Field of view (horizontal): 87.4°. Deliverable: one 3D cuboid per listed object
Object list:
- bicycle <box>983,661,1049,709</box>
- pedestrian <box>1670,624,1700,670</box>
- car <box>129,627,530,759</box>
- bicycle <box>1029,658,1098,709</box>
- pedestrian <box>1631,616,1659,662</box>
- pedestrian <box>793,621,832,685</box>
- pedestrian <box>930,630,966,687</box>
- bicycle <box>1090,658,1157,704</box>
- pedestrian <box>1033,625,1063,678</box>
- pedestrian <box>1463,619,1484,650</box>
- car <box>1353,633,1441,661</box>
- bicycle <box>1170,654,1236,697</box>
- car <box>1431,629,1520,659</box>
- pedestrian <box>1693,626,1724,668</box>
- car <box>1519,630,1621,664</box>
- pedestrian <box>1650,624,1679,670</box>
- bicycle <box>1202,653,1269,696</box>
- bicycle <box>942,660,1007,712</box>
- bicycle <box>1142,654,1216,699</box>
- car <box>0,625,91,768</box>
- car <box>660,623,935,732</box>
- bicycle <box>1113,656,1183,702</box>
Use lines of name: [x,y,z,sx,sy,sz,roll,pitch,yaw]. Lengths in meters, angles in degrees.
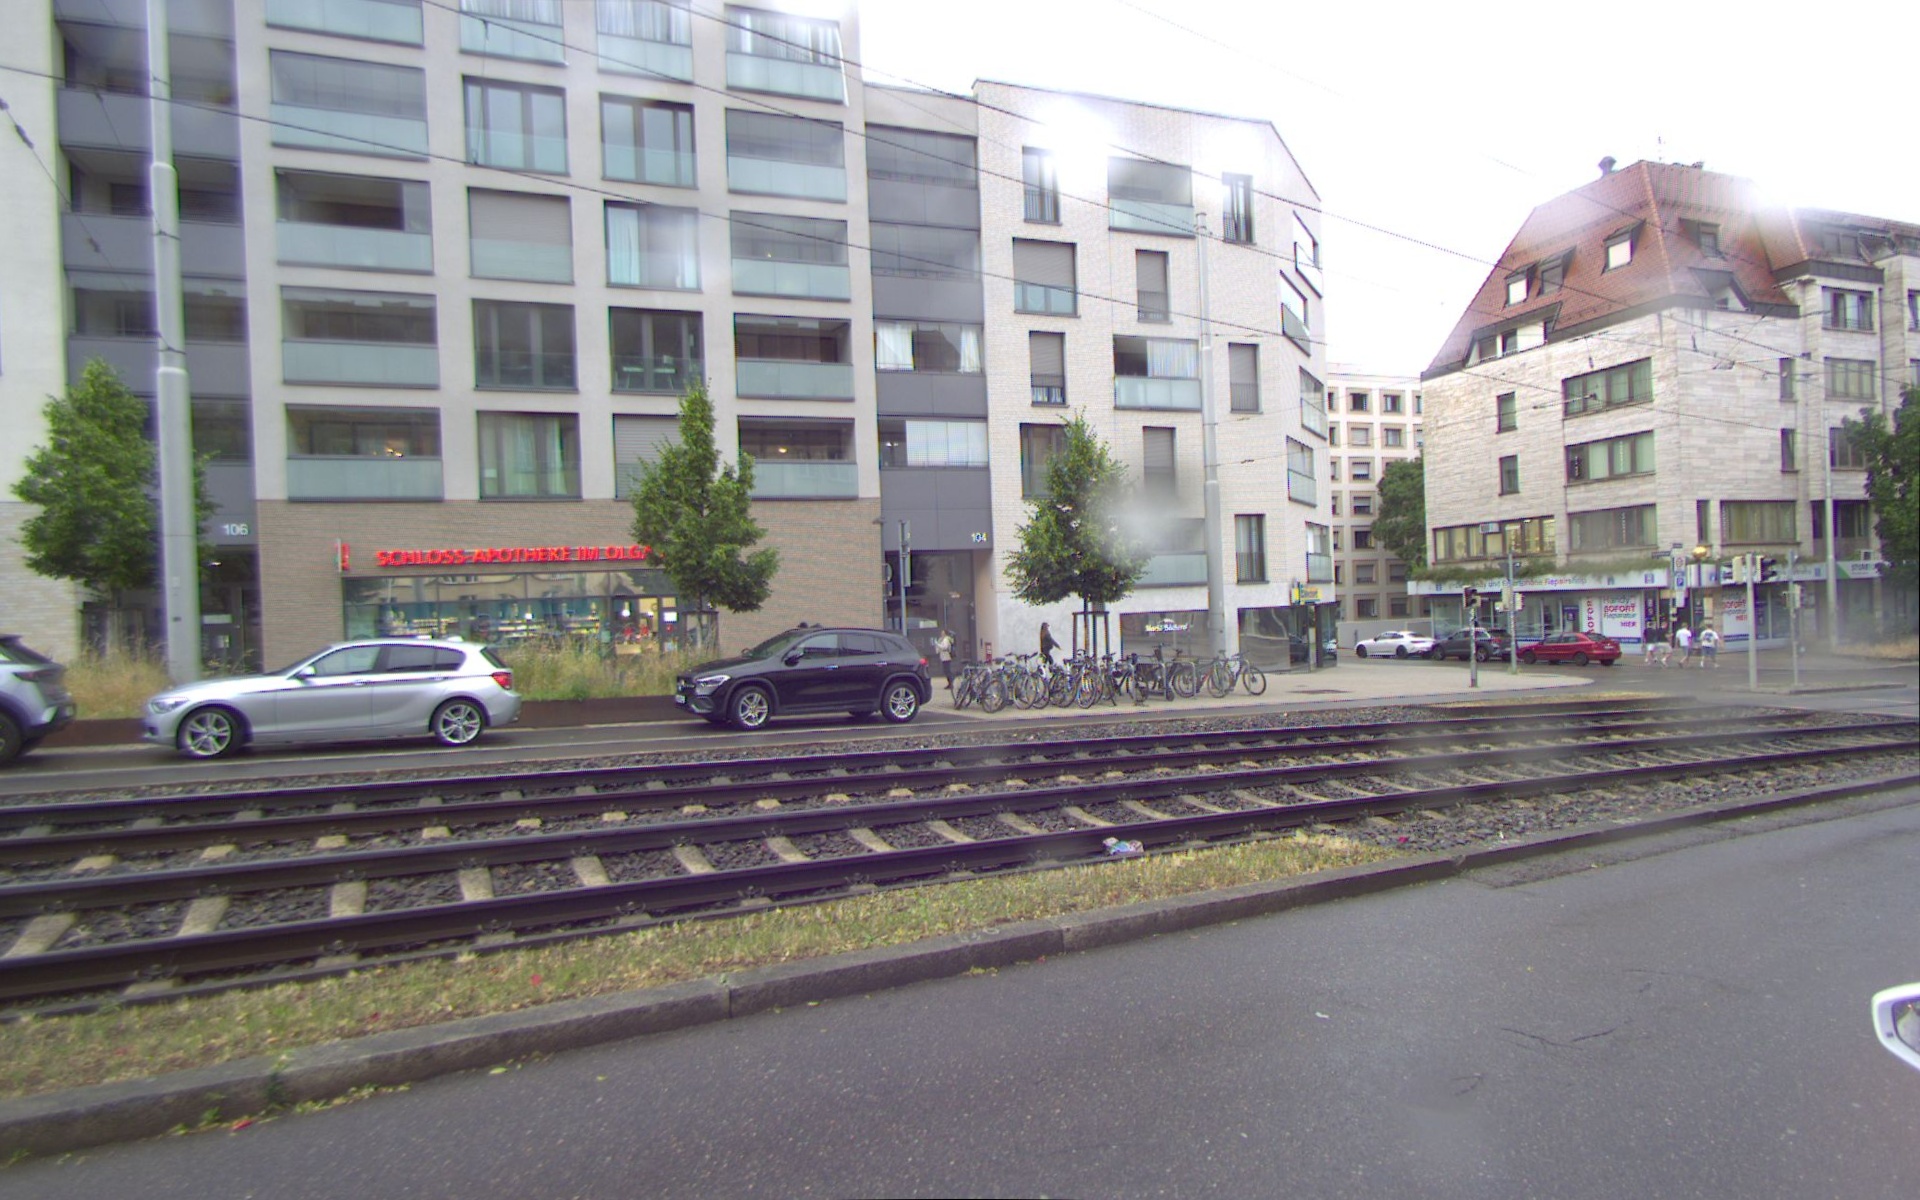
bicycle: [1.133,1.734,20.734,0.383,0.930,1.773,1,-3,-34]
pedestrian: [28.152,1.808,39.017,0.674,1.747,0.646,1,1,-22]
car: [-8.196,1.143,13.459,4.280,1.484,1.671,1,-1,-31]
bicycle: [2.144,1.721,21.035,0.383,0.930,1.772,1,-1,-34]
pedestrian: [28.392,1.595,41.620,0.674,1.867,0.646,1,1,-22]
pedestrian: [-3.505,1.249,23.797,0.790,1.468,0.656,1,1,-18]
pedestrian: [-0.325,1.566,26.806,0.790,1.468,0.538,1,1,-18]
bicycle: [3.640,1.796,22.519,0.383,0.930,1.772,1,-1,-34]
pedestrian: [2.710,1.577,30.826,0.637,1.590,0.775,0,-1,33]
pedestrian: [26.549,1.771,51.957,0.640,1.569,0.680,1,1,-21]
car: [22.647,2.427,52.282,1.570,1.335,4.482,1,-2,-20]
bicycle: [5.849,1.806,24.282,0.383,0.888,1.774,1,0,-31]
car: [24.339,2.075,47.538,1.570,1.335,3.689,1,-2,-20]
pedestrian: [28.426,1.775,38.158,0.674,1.569,0.646,1,1,-22]
car: [26.013,1.991,42.964,1.568,1.335,3.693,1,-2,-16]
pedestrian: [27.940,1.849,39.847,0.674,1.772,0.646,1,1,-22]
bicycle: [6.808,1.823,24.916,0.436,0.993,1.773,1,-2,-34]
bicycle: [0.268,1.724,20.317,0.383,0.930,1.772,1,-1,-34]
bicycle: [5.207,1.806,23.914,1.764,0.930,0.385,1,0,44]
car: [-12.286,1.052,10.987,4.010,1.550,1.669,2,-1,-35]
car: [-2.699,1.234,16.998,4.280,1.625,1.671,1,-1,-31]
bicycle: [4.301,1.792,23.108,0.384,0.930,1.770,1,0,-38]
